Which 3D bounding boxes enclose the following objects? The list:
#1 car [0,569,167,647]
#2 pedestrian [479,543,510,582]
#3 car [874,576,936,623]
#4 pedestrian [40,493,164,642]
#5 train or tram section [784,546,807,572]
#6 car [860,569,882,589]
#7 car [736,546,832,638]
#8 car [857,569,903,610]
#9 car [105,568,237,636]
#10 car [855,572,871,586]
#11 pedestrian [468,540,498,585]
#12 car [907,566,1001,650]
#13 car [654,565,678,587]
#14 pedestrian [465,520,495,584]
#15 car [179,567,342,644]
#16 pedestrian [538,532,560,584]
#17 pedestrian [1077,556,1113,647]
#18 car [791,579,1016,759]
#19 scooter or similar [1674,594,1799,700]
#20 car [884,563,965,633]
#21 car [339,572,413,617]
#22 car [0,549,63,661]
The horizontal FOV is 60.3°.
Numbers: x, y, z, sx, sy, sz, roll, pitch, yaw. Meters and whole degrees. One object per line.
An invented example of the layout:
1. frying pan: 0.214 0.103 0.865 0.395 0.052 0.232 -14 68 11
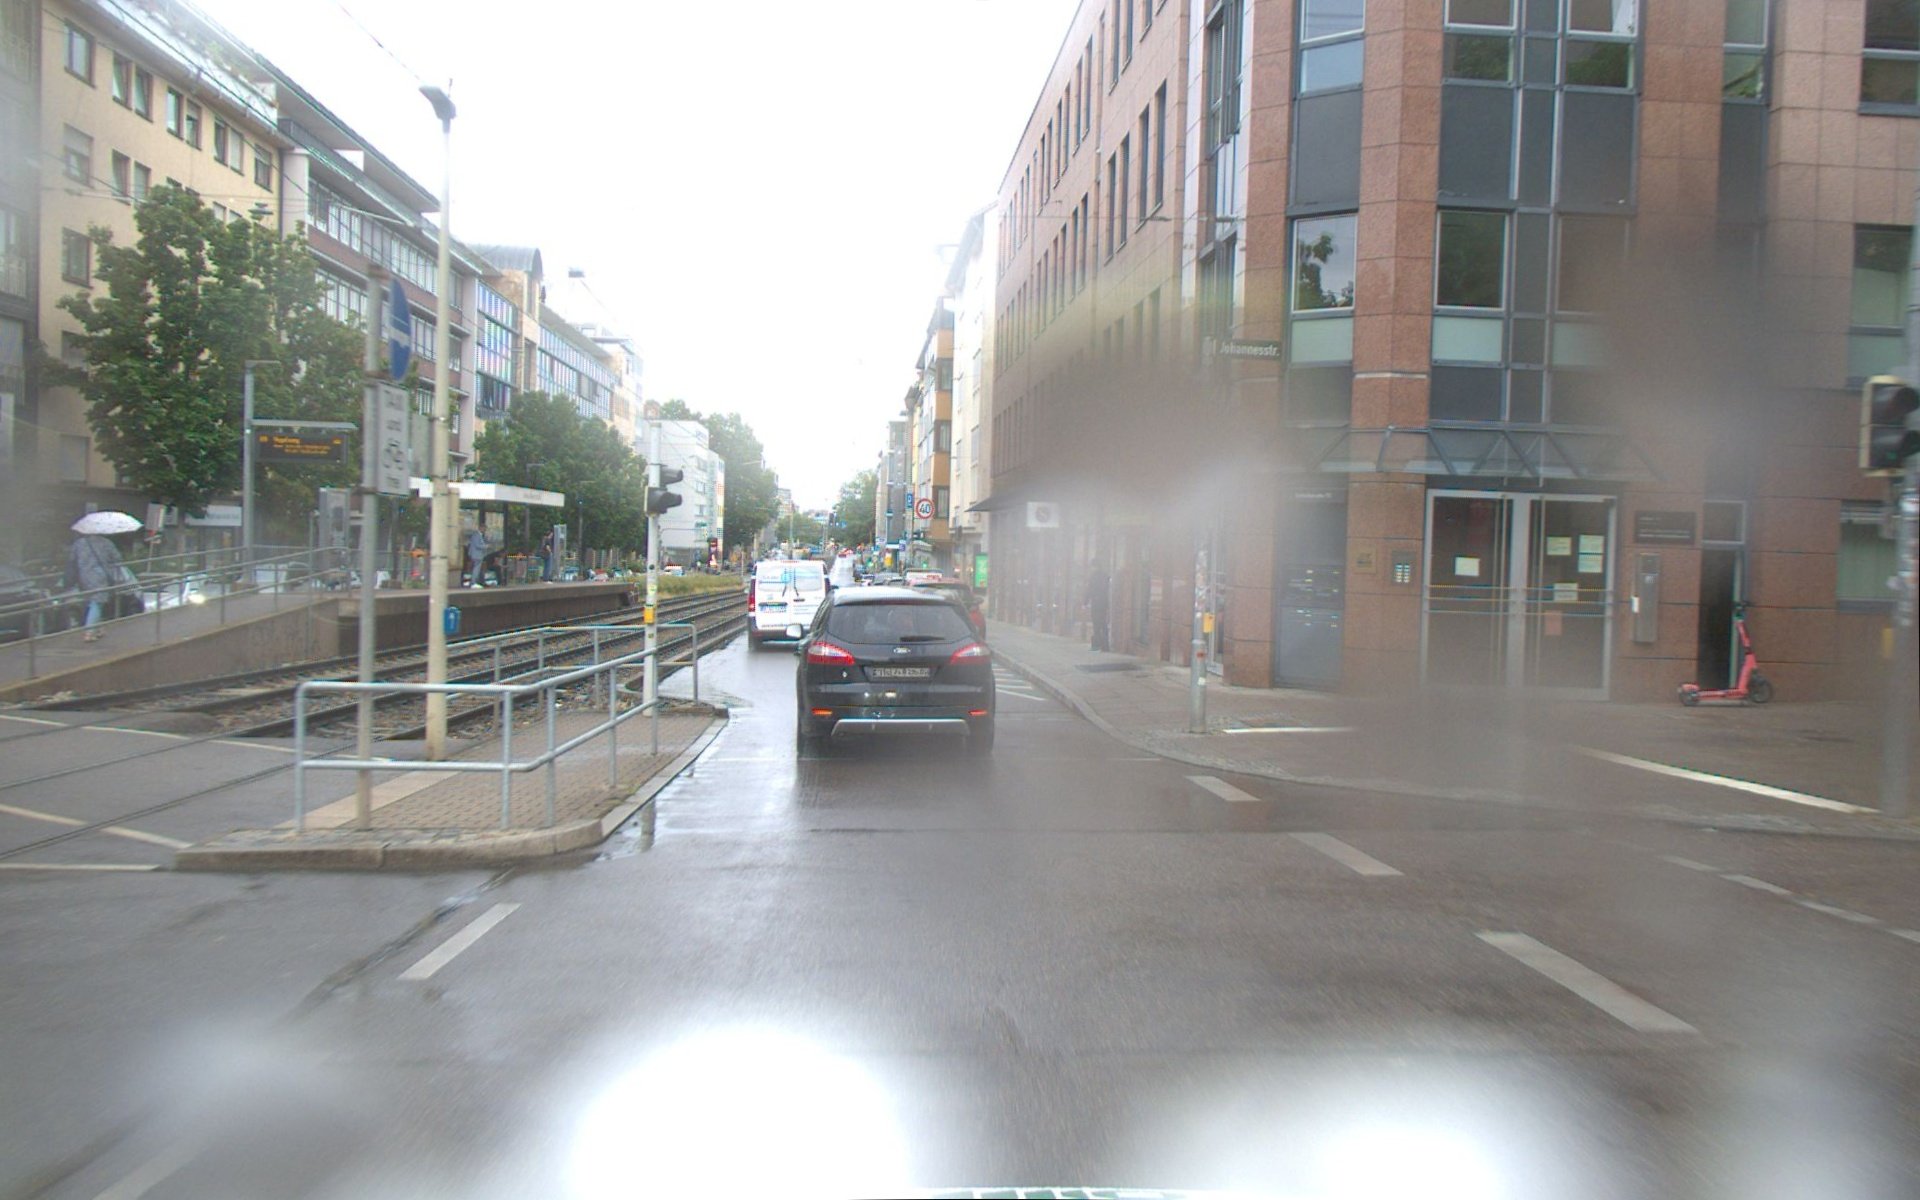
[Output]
1. car: -17.814 0.123 33.574 1.806 1.461 4.313 0 1 -7
2. pedestrian: -13.998 -1.122 49.786 0.877 1.143 0.847 0 1 -15
3. car: -1.878 -0.051 55.317 1.740 1.494 4.603 0 1 -6
4. pedestrian: -12.213 -0.451 23.590 1.094 2.049 1.382 0 0 -4
5. train or tram section: -25.239 -6.217 253.613 3.446 3.843 11.316 0 1 -6
6. car: -7.564 -1.766 141.064 1.868 1.662 4.571 1 0 -3
7. car: -3.963 -0.167 36.645 1.871 1.897 4.564 1 0 -9
8. car: -3.401 -0.446 69.739 1.772 1.660 5.165 0 1 -4
9. car: -18.003 0.015 37.925 1.538 1.461 3.973 0 1 -7
10. car: -11.909 -2.618 202.873 1.868 1.662 4.571 1 0 -3
11. pedestrian: -13.759 -1.081 47.699 0.679 1.271 0.883 0 1 -6
12. car: -0.173 0.134 32.558 1.664 1.505 3.865 -1 0 -3
13. car: -26.462 -2.179 148.980 1.870 1.897 4.567 1 0 -7
14. pedestrian: -13.192 -1.321 45.455 0.643 1.741 0.849 0 0 -6
15. car: -15.568 0.076 37.123 1.771 1.605 5.018 0 1 -3
16. pedestrian: -14.581 -1.474 58.685 0.643 1.833 0.849 0 0 -6
17. pedestrian: 2.543 0.032 31.176 0.590 1.688 0.625 0 0 -4
18. car: -0.572 0.576 15.566 1.869 1.488 3.442 1 0 -4
19. scooter or similar: 9.278 0.555 19.779 1.346 1.248 0.325 0 0 -1
20. car: -0.863 -0.049 38.117 1.665 1.487 3.864 -1 0 -4
21. car: -19.418 -0.197 55.083 1.538 1.461 3.730 0 1 -7
22. car: -17.039 0.077 27.943 1.768 1.890 4.375 0 1 -6
